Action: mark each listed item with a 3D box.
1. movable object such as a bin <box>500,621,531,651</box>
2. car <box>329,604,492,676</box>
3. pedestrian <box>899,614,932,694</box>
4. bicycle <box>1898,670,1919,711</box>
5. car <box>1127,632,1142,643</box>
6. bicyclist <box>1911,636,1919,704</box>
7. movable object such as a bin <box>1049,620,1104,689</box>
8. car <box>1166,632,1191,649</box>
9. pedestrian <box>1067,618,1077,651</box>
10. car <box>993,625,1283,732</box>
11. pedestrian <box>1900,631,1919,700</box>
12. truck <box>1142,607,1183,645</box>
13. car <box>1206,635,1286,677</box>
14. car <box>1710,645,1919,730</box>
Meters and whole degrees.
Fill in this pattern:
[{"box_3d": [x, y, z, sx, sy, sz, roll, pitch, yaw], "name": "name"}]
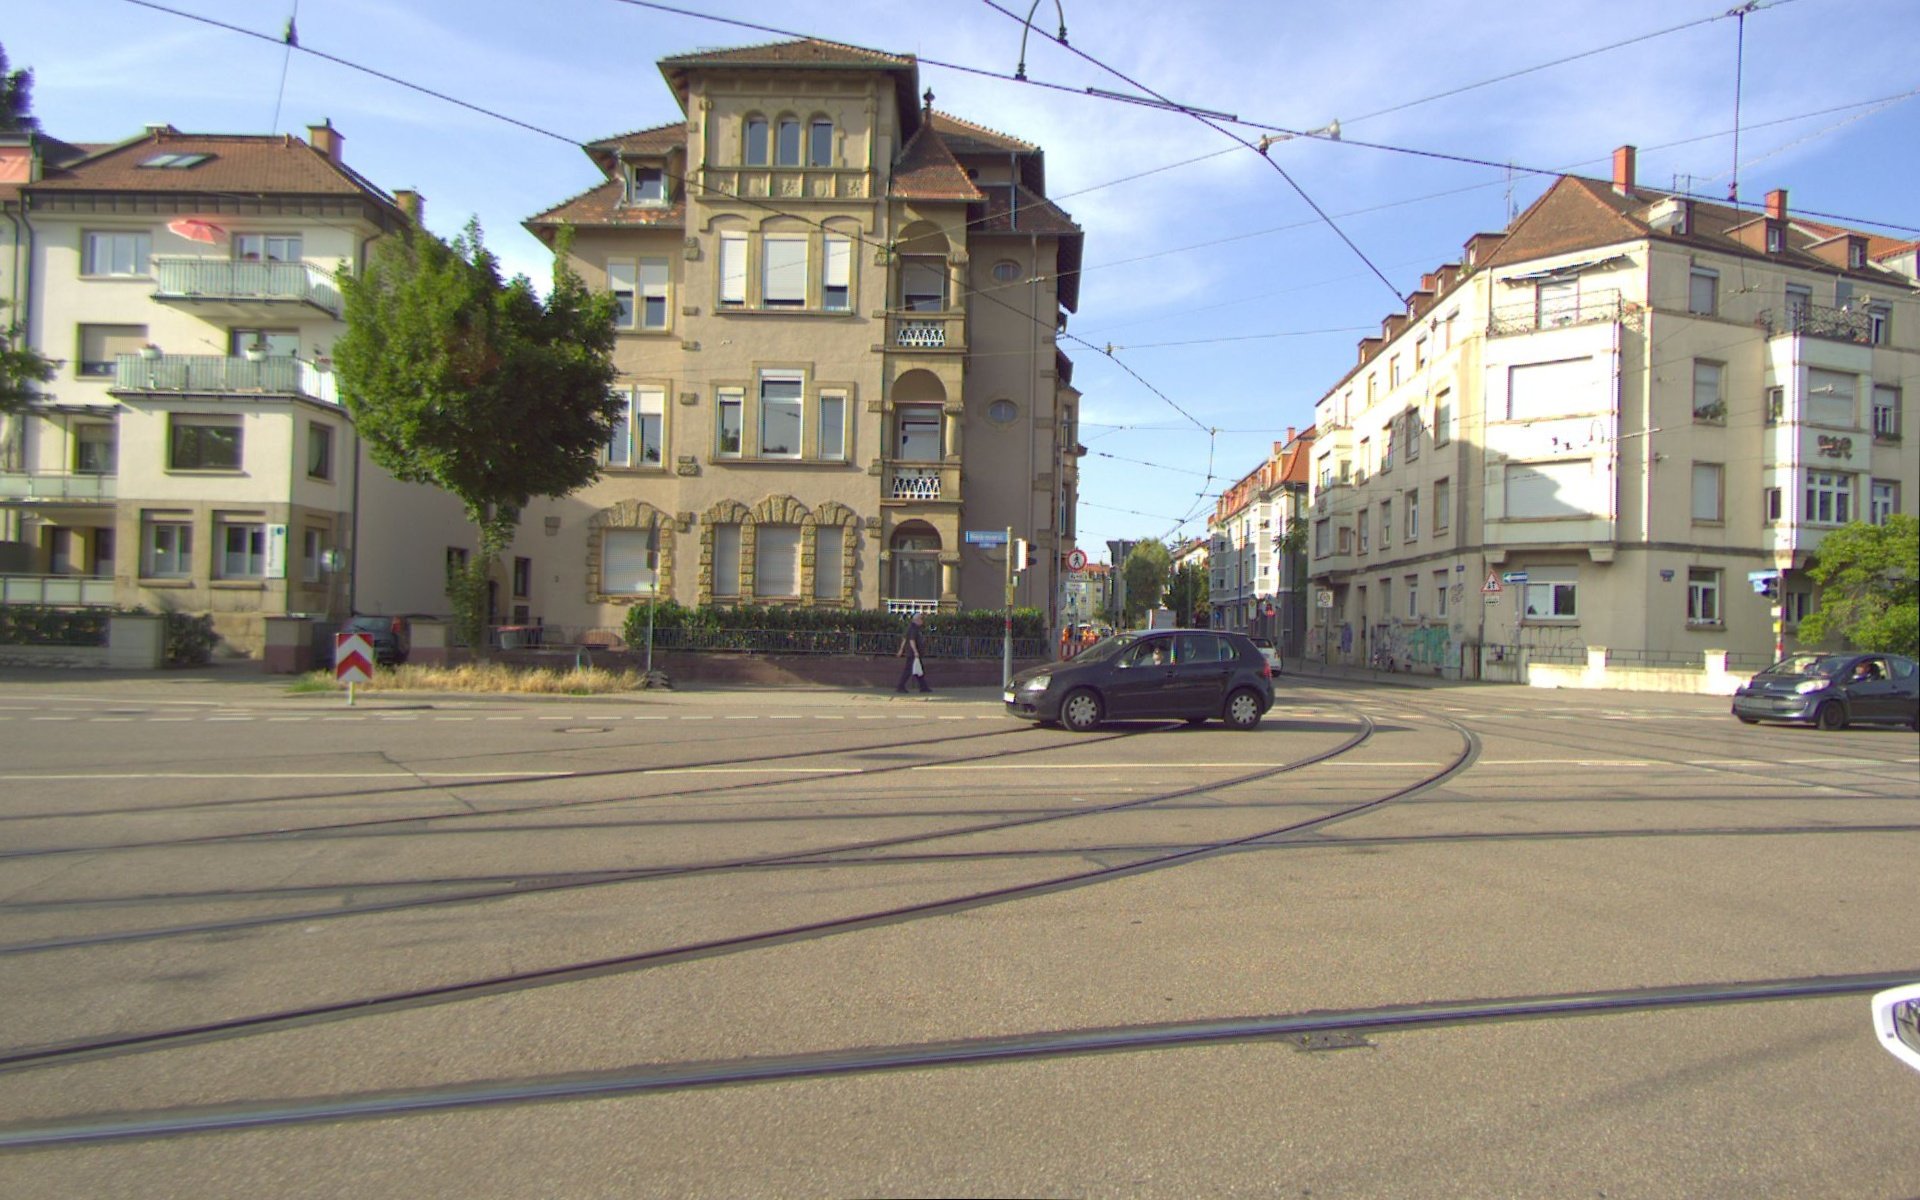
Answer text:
[{"box_3d": [-12.552, 1.005, 28.391, 0.598, 0.825, 0.655, 1, -1, -6], "name": "movable object such as a bin"}, {"box_3d": [-13.644, 0.972, 25.227, 1.740, 1.653, 4.002, 1, -1, 3], "name": "car"}, {"box_3d": [-0.951, 1.143, 21.625, 0.592, 1.673, 0.681, 1, -1, 5], "name": "pedestrian"}, {"box_3d": [24.716, 2.278, 25.198, 1.999, 0.978, 0.769, 1, -1, -13], "name": "bicycle"}, {"box_3d": [24.035, 5.202, 138.351, 1.764, 1.476, 4.002, 1, -1, 5], "name": "car"}, {"box_3d": [24.726, 1.775, 25.198, 1.147, 1.690, 0.761, 1, -1, -13], "name": "bicyclist"}, {"box_3d": [3.072, 1.400, 26.270, 0.260, 1.732, 2.374, 0, -2, 36], "name": "movable object such as a bin"}, {"box_3d": [19.463, 3.613, 89.622, 1.763, 1.476, 4.003, 1, -1, 6], "name": "car"}, {"box_3d": [6.425, 1.994, 57.702, 0.535, 1.847, 0.477, 1, -1, 5], "name": "pedestrian"}, {"box_3d": [2.634, 1.150, 15.138, 3.933, 1.452, 1.767, 2, -1, -15], "name": "car"}, {"box_3d": [26.919, 1.823, 28.142, 0.617, 1.906, 0.658, 1, -1, -18], "name": "pedestrian"}, {"box_3d": [21.508, 2.755, 107.159, 3.191, 3.777, 9.930, 1, -1, 6], "name": "truck"}, {"box_3d": [11.113, 2.151, 39.311, 1.765, 1.476, 3.999, 1, -1, -3], "name": "car"}, {"box_3d": [16.270, 1.624, 18.824, 3.565, 1.452, 1.636, 1, -1, -12], "name": "car"}]
